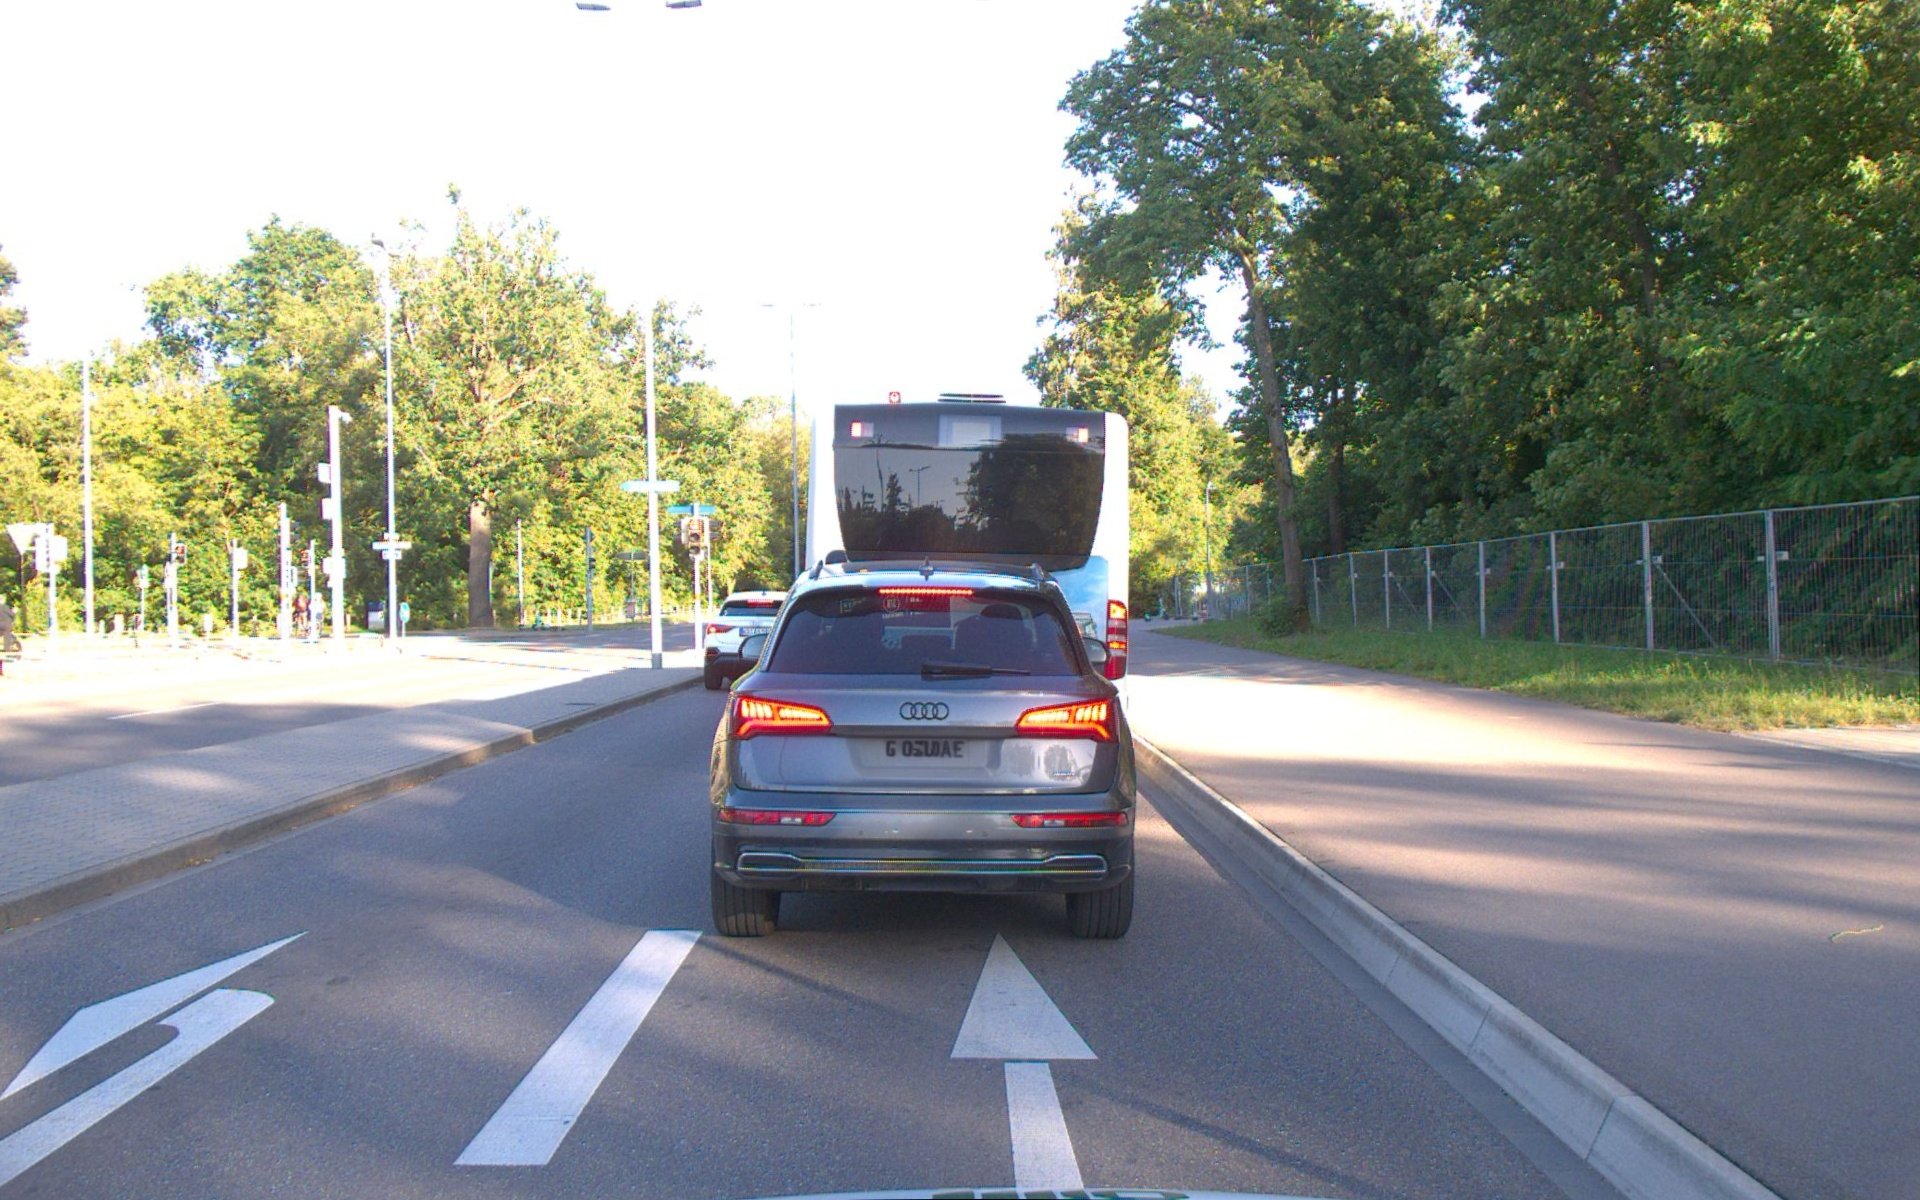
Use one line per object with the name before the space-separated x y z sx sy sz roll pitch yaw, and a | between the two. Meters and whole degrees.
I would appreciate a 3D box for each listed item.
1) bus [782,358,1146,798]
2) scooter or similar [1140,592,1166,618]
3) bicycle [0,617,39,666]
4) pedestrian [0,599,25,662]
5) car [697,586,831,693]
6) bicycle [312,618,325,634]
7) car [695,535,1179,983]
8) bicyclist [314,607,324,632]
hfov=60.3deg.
bus | 0.052 -0.200 15.110 2.623 3.196 5.882 1 1 0
scooter or similar | 9.134 0.246 78.112 1.158 1.195 0.659 1 0 10
bicycle | -24.147 1.038 41.967 0.458 1.198 2.003 1 0 -1
pedestrian | -24.164 0.768 41.976 0.472 1.589 0.648 1 -1 -1
car | -3.178 0.588 27.503 1.771 1.599 4.000 1 1 -1
bicycle | -24.714 1.002 63.742 0.261 0.592 0.838 1 0 -6
car | -0.115 0.586 8.349 1.830 1.693 4.000 1 1 -1
bicyclist | -24.715 0.743 63.769 0.268 0.979 0.240 1 -1 -5
